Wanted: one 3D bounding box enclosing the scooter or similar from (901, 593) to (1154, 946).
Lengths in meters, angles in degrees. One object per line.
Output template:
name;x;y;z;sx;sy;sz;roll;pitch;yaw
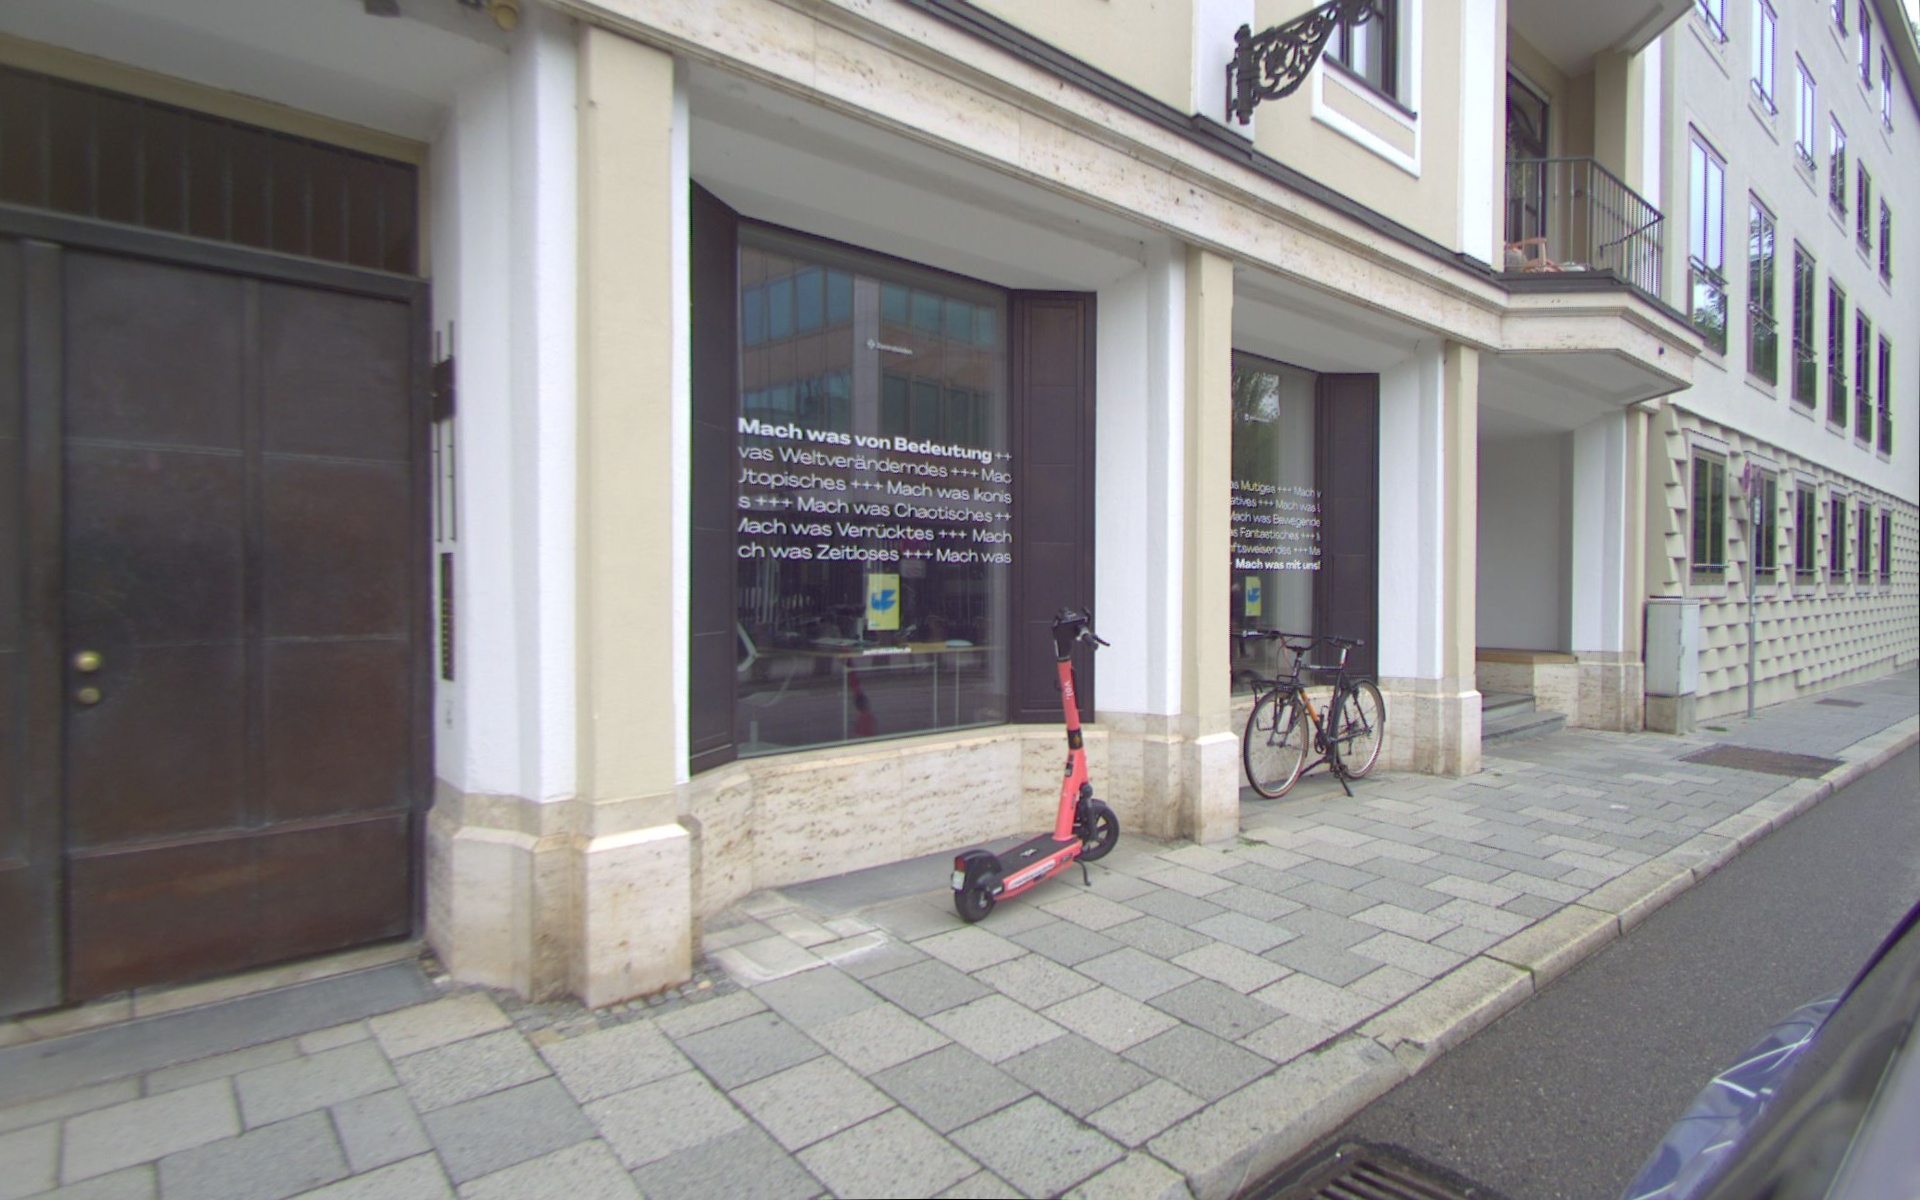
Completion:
scooter or similar;0.336;0.630;4.409;0.463;1.274;1.260;4;3;35

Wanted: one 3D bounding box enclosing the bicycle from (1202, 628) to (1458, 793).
bicycle;2.628;0.728;7.079;2.037;1.006;0.466;2;1;-30
